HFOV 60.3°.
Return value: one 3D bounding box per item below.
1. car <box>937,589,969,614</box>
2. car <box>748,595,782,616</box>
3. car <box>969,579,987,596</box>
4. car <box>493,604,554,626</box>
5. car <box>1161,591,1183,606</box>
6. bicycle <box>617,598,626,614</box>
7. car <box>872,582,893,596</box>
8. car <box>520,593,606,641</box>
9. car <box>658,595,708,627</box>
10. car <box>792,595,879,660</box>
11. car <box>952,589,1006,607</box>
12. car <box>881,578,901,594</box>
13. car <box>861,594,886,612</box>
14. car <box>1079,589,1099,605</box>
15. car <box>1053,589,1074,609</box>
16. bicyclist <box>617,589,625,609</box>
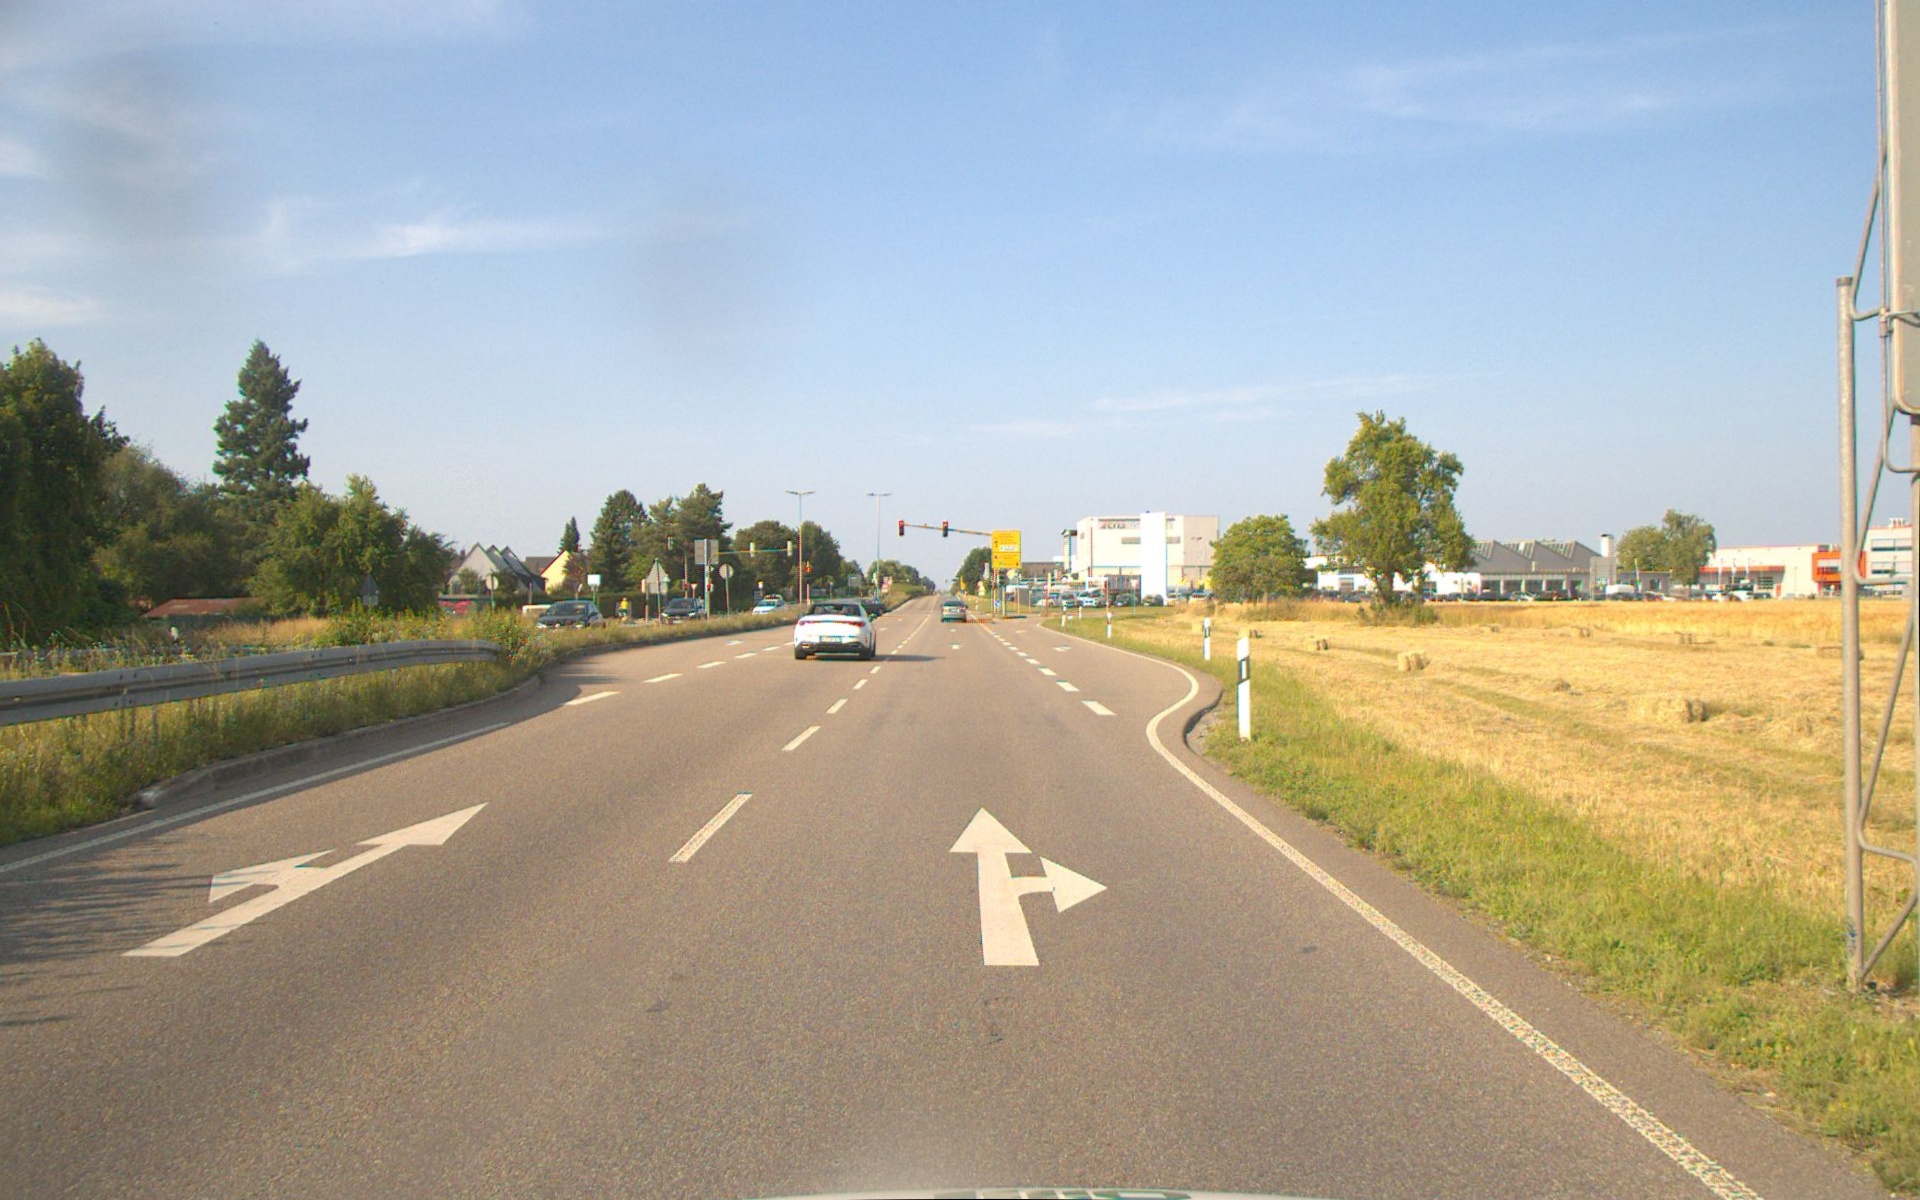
[{"bbox_3d":[-0.478,0.082,108.597,1.953,1.512,3.999,1,1,-1],"label":"car"},{"bbox_3d":[-13.501,0.370,114.600,1.953,1.422,3.999,1,1,-1],"label":"car"},{"bbox_3d":[1.974,-1.400,182.487,1.952,1.787,4.000,1,0,1],"label":"car"},{"bbox_3d":[-31.818,1.099,120.649,4.106,1.548,1.996,1,0,-9],"label":"car"},{"bbox_3d":[22.808,-0.176,178.184,1.952,1.467,4.000,1,1,1],"label":"car"},{"bbox_3d":[-23.138,0.411,112.994,0.399,1.032,1.602,-1,0,-4],"label":"bicycle"},{"bbox_3d":[-7.897,-1.106,168.035,1.907,1.432,4.000,1,1,0],"label":"car"},{"bbox_3d":[-13.436,0.539,56.218,1.953,1.512,4.226,1,1,-1],"label":"car"},{"bbox_3d":[-13.419,0.508,80.272,1.693,1.432,4.000,1,1,0],"label":"car"},{"bbox_3d":[-2.993,0.638,40.483,1.871,1.447,3.999,1,1,-1],"label":"car"},{"bbox_3d":[1.529,-0.167,132.304,3.929,1.432,1.942,1,0,-21],"label":"car"},{"bbox_3d":[-7.589,-1.551,182.321,1.907,1.803,4.000,1,0,0],"label":"car"},{"bbox_3d":[-7.480,0.241,143.214,1.907,1.432,4.000,1,1,0],"label":"car"},{"bbox_3d":[13.835,-0.343,177.552,1.952,1.673,4.000,1,0,1],"label":"car"},{"bbox_3d":[11.079,-0.139,177.321,1.952,2.049,4.000,1,0,1],"label":"car"},{"bbox_3d":[-23.130,-0.049,112.930,0.446,1.375,0.551,-1,0,-4],"label":"bicyclist"}]
